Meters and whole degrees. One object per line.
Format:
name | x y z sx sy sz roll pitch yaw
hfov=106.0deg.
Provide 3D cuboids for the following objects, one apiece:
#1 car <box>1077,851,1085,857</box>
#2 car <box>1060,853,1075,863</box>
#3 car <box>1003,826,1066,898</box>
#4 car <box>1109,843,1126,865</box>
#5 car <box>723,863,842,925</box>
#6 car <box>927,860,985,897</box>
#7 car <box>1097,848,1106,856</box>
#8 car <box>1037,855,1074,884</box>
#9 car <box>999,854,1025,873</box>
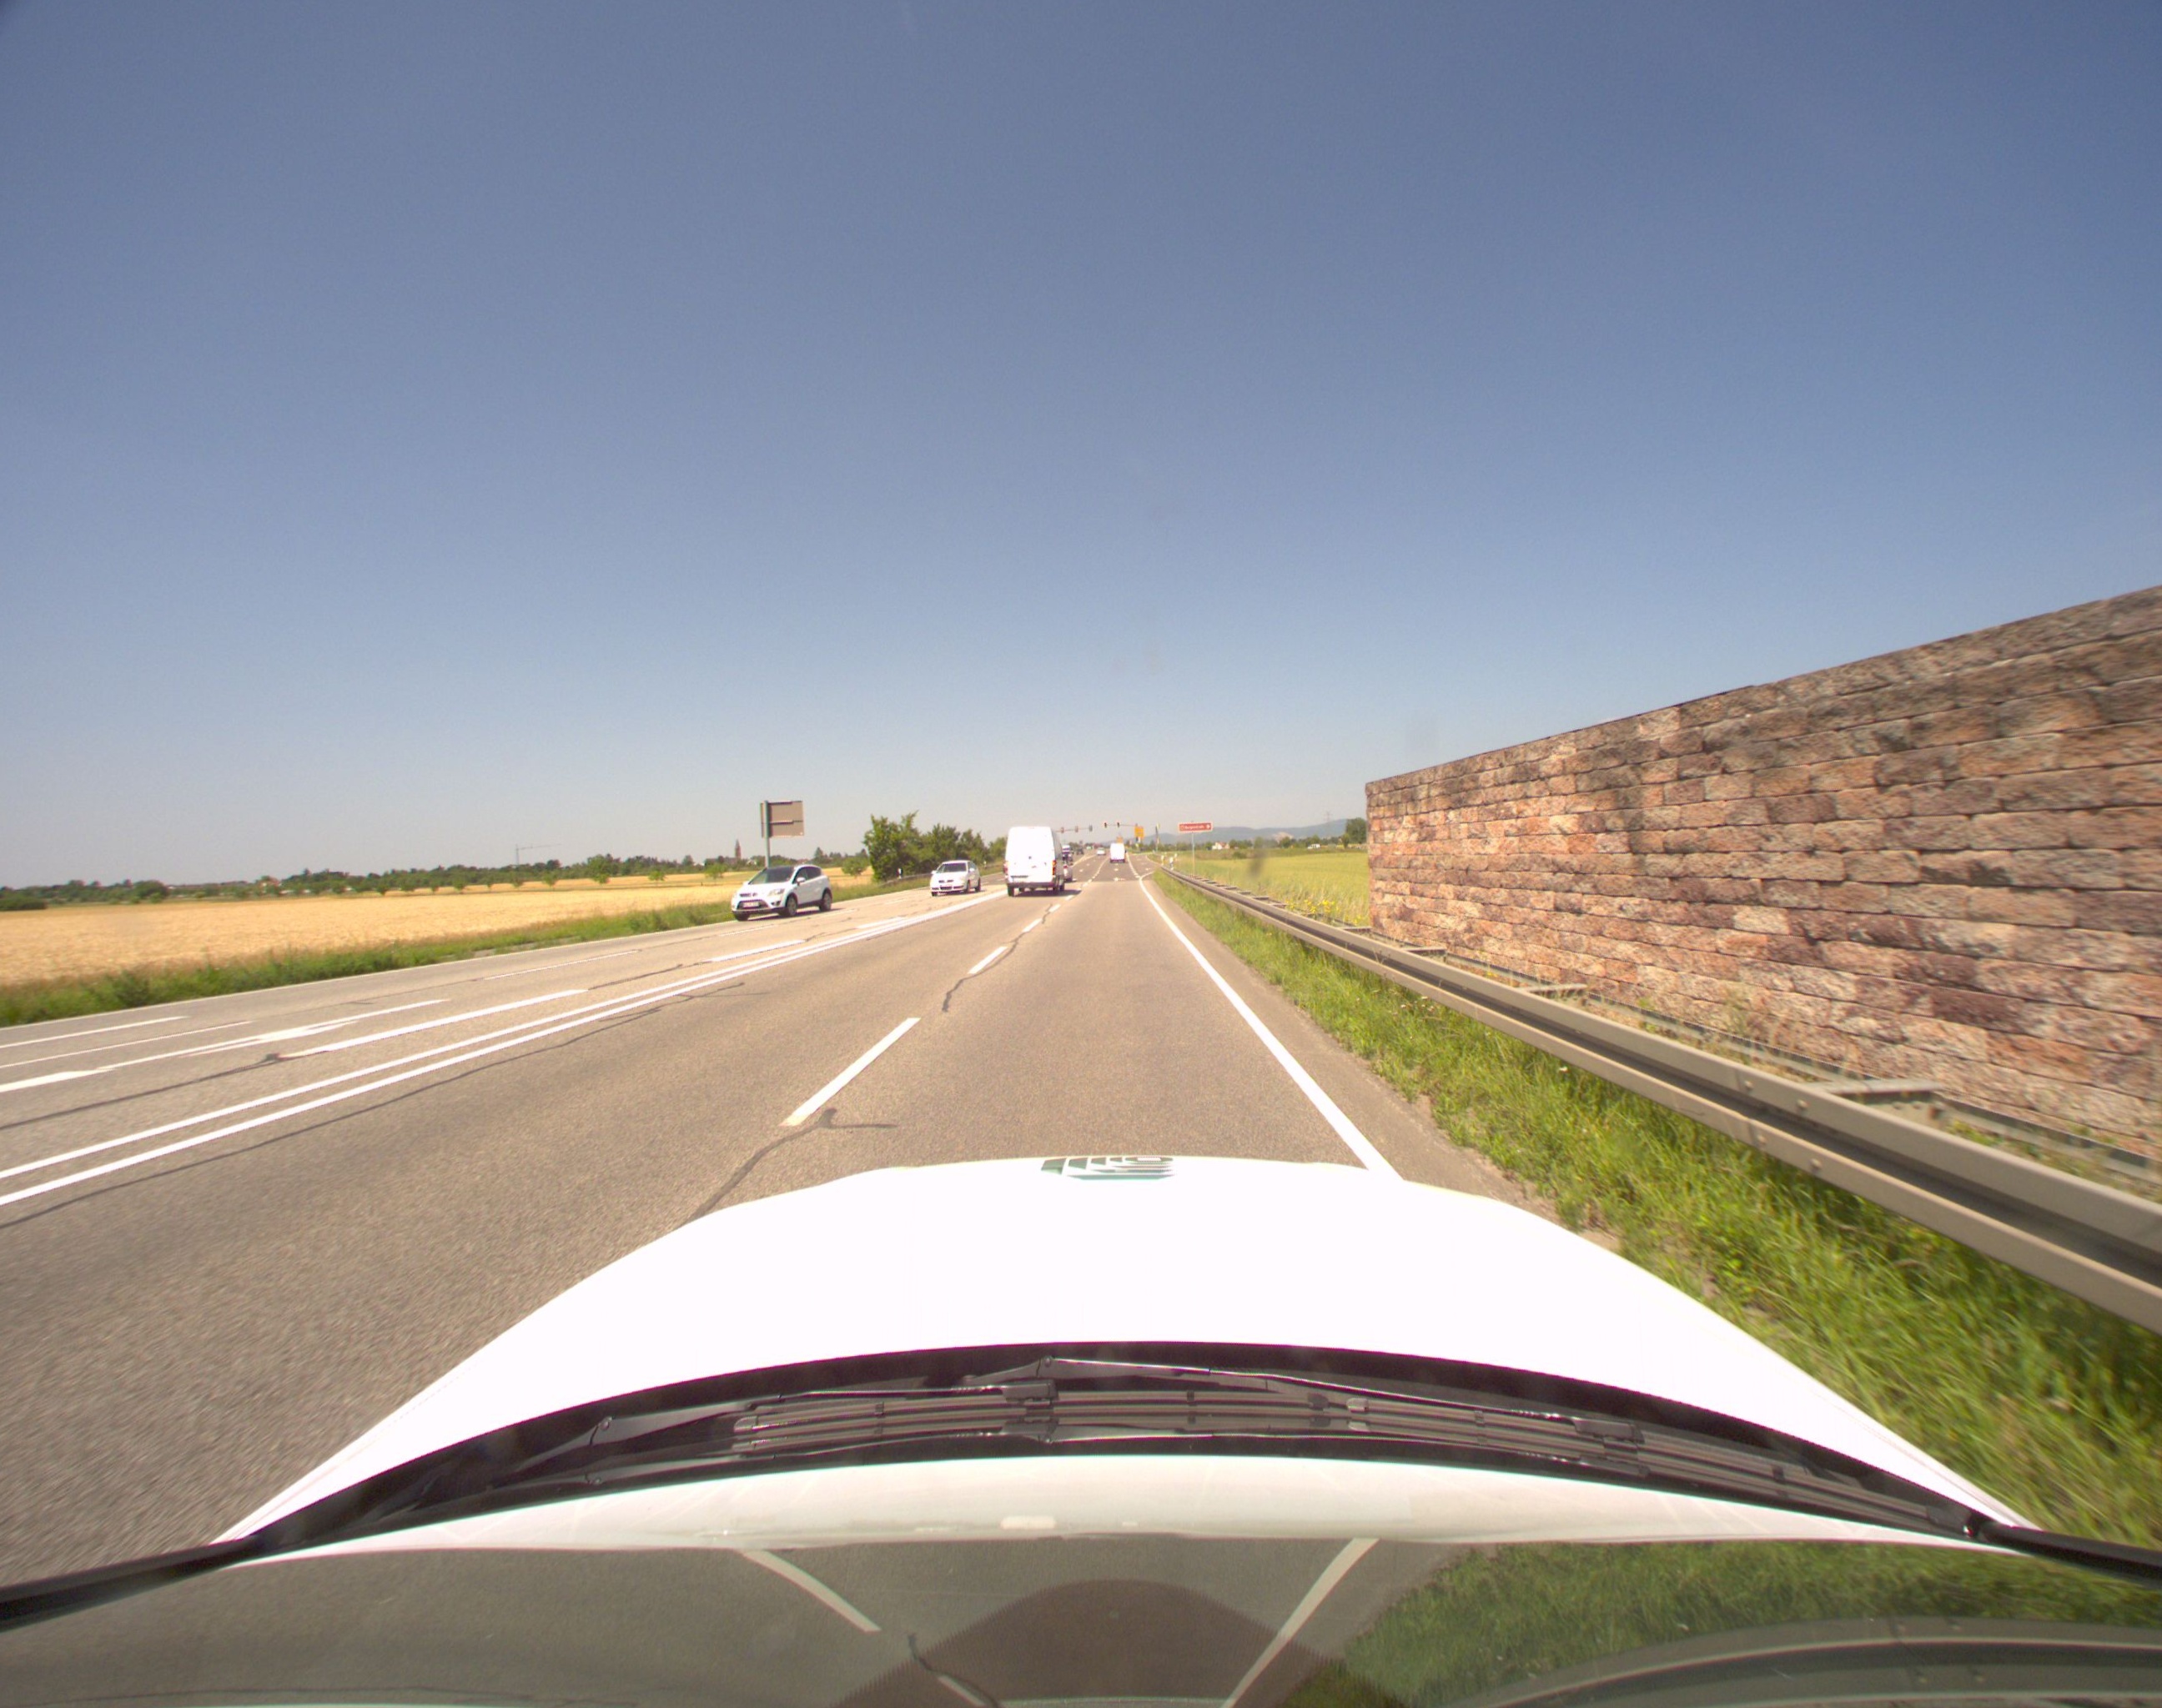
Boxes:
car | -0.039 -0.116 206.138 1.849 1.423 4.004 -2 -1 4
car | -2.110 0.624 128.220 1.849 1.423 4.004 -4 0 4
car | -1.768 0.329 33.099 2.031 2.620 5.742 -1 -1 1
car | 4.831 0.004 108.083 1.986 2.695 4.972 -3 0 2
car | -9.718 1.243 26.944 1.656 1.676 4.472 -4 0 8
car | -5.515 1.052 36.410 1.742 1.442 4.083 -3 0 2
car | 4.487 -0.484 177.344 1.985 1.703 4.278 -1 -1 3
car | -1.423 0.848 46.782 1.792 1.508 4.199 -2 0 2
car | -7.005 0.954 83.108 1.985 1.562 4.315 -4 2 3
